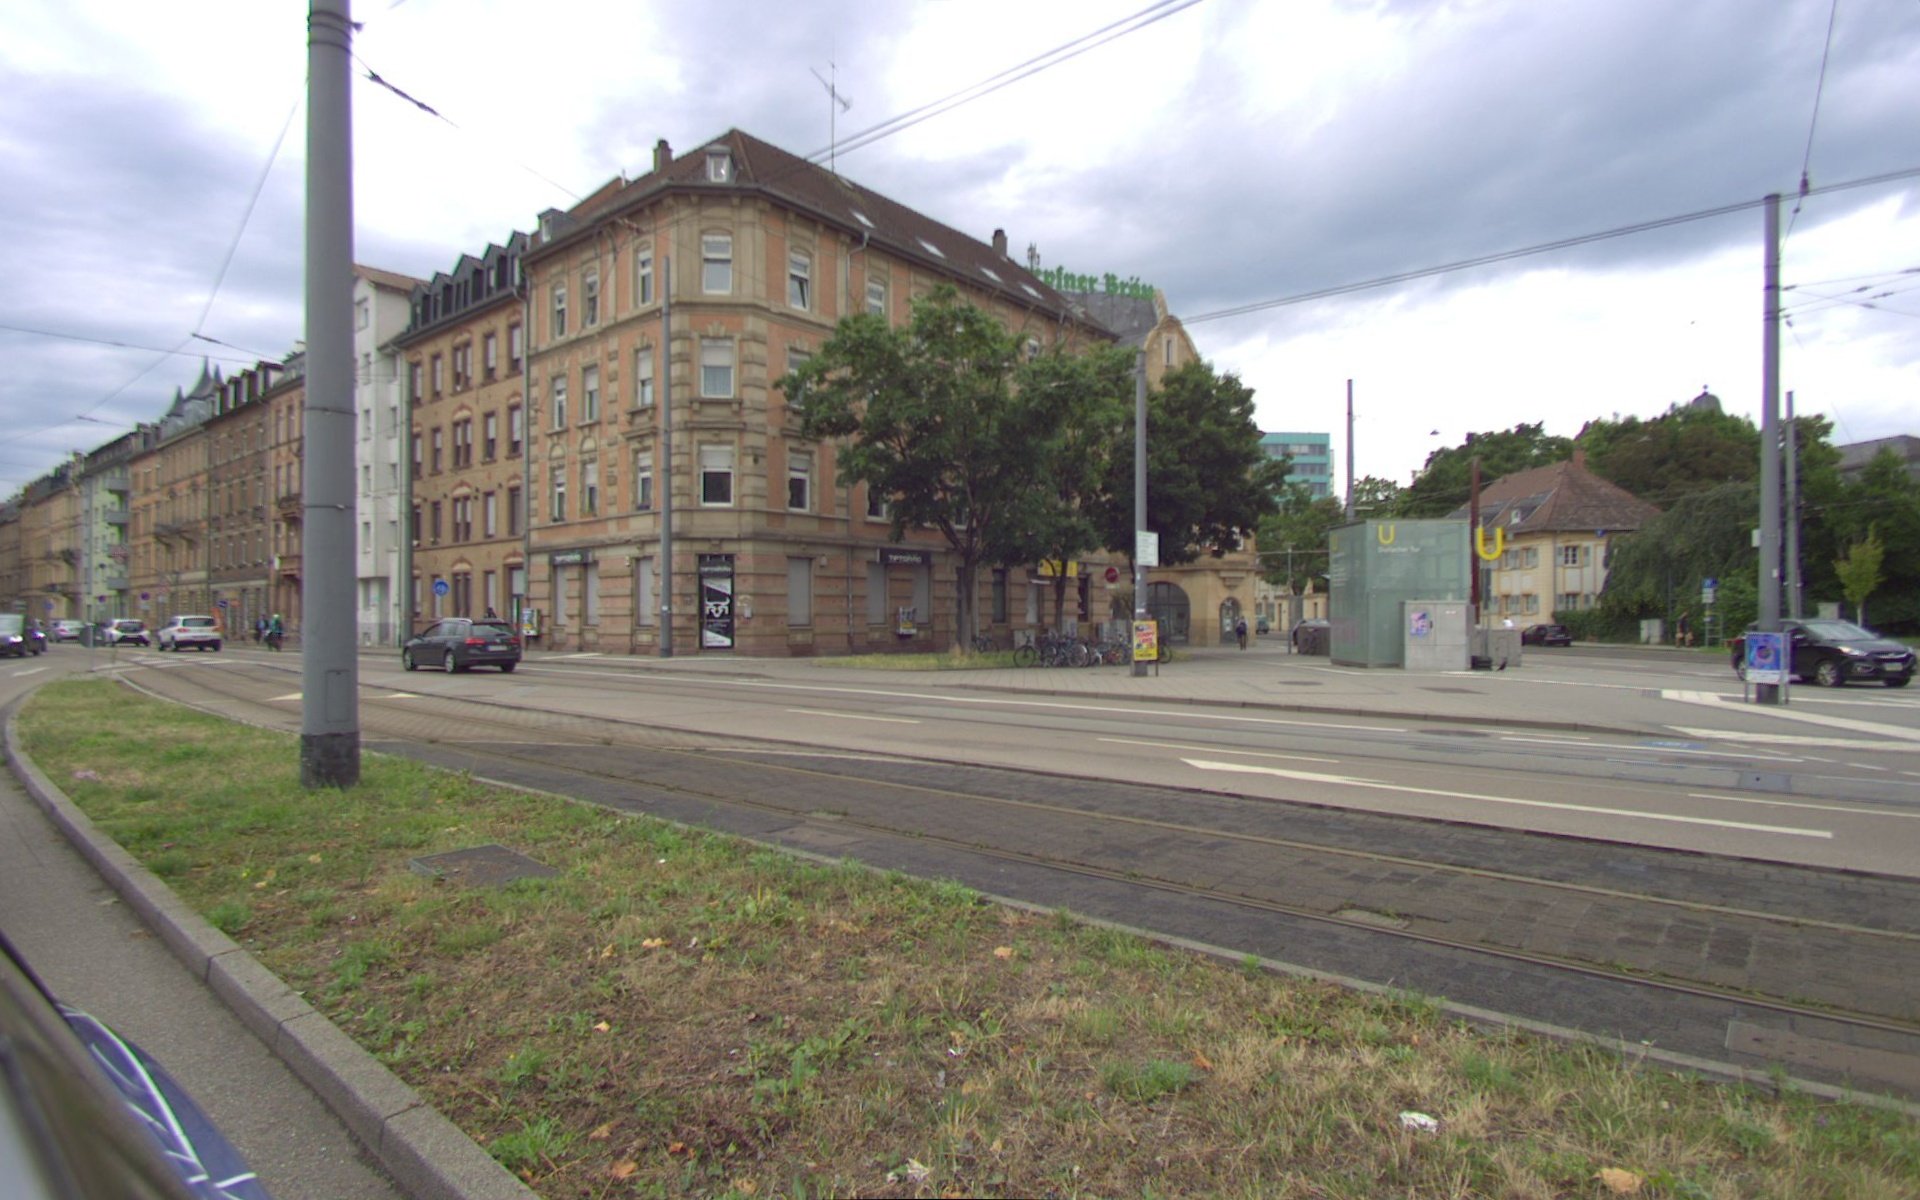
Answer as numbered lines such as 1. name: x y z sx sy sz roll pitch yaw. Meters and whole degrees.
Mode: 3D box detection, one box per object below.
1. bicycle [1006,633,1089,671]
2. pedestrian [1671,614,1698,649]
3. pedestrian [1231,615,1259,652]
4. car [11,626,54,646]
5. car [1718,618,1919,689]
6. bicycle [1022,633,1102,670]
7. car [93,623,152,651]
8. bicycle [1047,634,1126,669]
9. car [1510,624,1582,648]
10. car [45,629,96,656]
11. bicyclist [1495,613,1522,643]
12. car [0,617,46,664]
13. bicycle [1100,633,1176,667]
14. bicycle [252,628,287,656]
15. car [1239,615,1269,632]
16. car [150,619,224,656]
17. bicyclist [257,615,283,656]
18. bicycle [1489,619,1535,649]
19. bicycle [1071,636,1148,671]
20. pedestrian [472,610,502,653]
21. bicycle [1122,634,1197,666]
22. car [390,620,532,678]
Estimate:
1. bicycle: 2.534 1.501 29.659 2.395 1.038 0.826 -1 -2 41
2. pedestrian: 38.633 1.700 53.975 0.797 1.846 0.851 0 -1 -7
3. pedestrian: 14.699 1.722 52.139 1.083 1.911 1.139 -1 -2 34
4. car: -72.399 2.799 78.989 4.570 1.521 1.796 -1 -1 39
5. car: 21.665 1.263 25.266 1.969 1.623 4.250 0 -1 -6
6. bicycle: 3.023 1.516 30.258 2.395 1.038 0.744 -1 -2 41
7. car: -46.237 2.013 55.849 4.013 1.442 1.792 -1 -1 39
8. bicycle: 3.866 1.565 31.131 2.395 1.038 0.744 -1 -2 41
9. car: 35.755 2.183 61.843 1.971 1.442 4.001 0 -1 -2
10. car: -58.594 2.782 66.652 4.229 1.716 1.873 -1 -1 39
11. bicyclist: 33.769 1.716 62.323 1.077 1.796 1.017 0 -1 -2
12. car: -37.733 1.557 39.769 5.131 1.768 2.340 -2 -2 44
13. bicycle: 5.760 1.616 32.924 2.395 1.038 0.744 -1 -2 41
14. bicycle: -32.746 1.972 47.974 2.410 1.302 0.788 -1 -2 41
15. car: 31.783 2.555 109.609 1.971 1.863 4.001 0 -1 -2
16. car: -36.088 1.711 47.241 4.226 1.658 1.812 -1 -1 39
17. bicyclist: -32.627 1.671 47.861 0.923 1.881 0.813 -1 -2 41
18. bicycle: 33.803 2.071 62.042 1.070 1.763 3.087 0 -1 -2
19. bicycle: 4.689 1.651 31.851 2.395 1.038 0.744 -1 -2 41
20. pedestrian: -18.650 1.243 39.936 0.797 1.688 0.802 -1 -2 37
21. bicycle: 6.696 1.670 34.058 2.395 1.038 0.744 -1 -2 41
22. car: -13.958 1.308 28.212 4.459 1.481 1.865 -1 -1 39
